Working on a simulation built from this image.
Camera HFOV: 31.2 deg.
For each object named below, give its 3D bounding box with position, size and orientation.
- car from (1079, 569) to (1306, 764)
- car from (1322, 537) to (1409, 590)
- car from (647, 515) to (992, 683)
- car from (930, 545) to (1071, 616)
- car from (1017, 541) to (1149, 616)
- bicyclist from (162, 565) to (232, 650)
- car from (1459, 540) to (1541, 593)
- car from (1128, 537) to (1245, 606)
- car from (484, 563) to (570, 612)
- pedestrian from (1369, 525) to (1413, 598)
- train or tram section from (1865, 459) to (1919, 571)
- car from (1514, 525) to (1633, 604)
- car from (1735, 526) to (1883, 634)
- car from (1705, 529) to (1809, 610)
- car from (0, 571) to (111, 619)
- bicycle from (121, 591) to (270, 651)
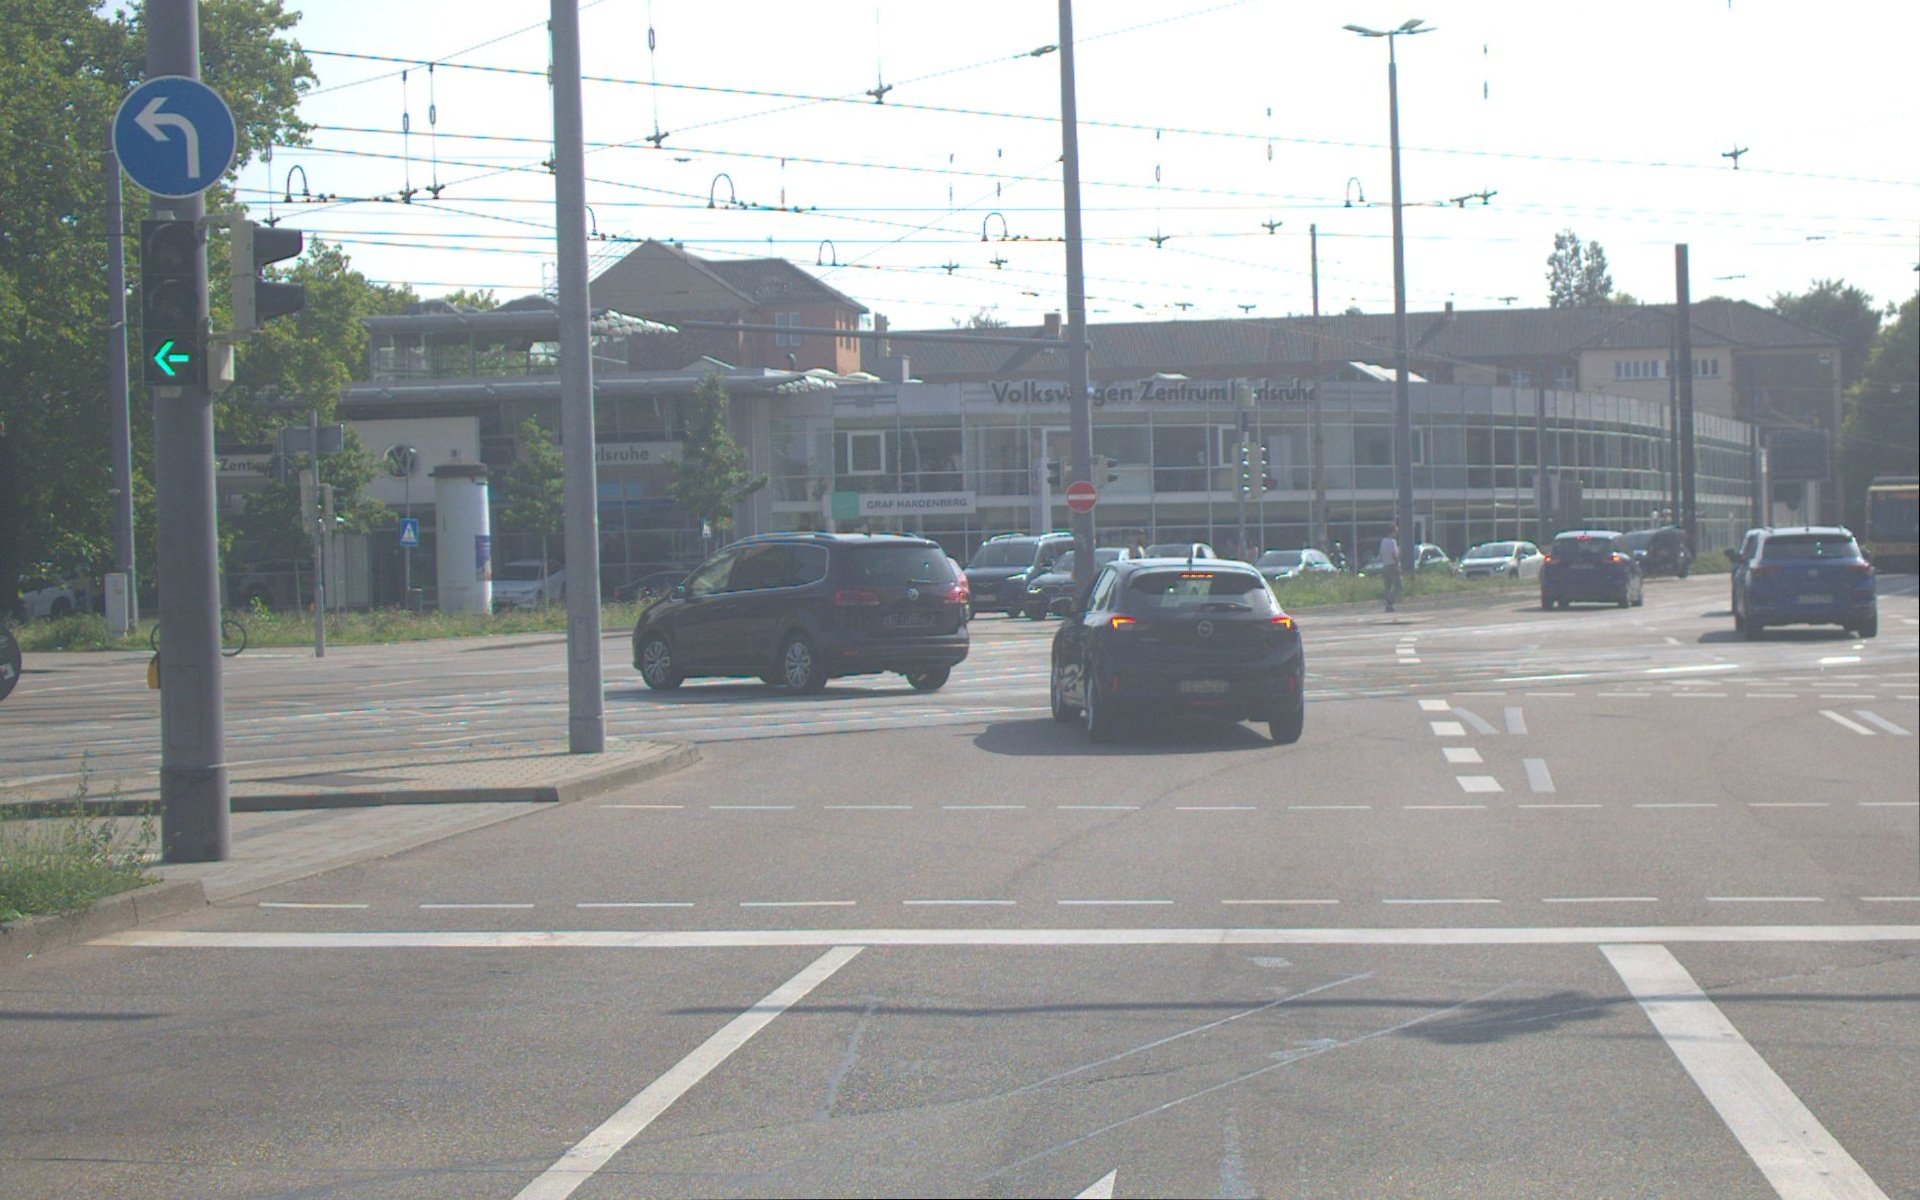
[{"bbox_3d":[1.871,0.497,28.710,1.682,1.486,4.372,1,0,1],"label":"car"},{"bbox_3d":[12.165,-1.107,102.953,1.616,1.470,3.996,-3,0,20],"label":"car"},{"bbox_3d":[-1.619,-0.035,37.941,1.825,1.708,4.412,-2,1,-32],"label":"car"},{"bbox_3d":[0.960,-0.469,78.224,1.962,1.470,3.996,-3,0,19],"label":"car"},{"bbox_3d":[2.641,-0.471,72.852,1.616,1.470,3.996,-3,0,19],"label":"car"},{"bbox_3d":[-13.931,0.126,62.776,1.162,1.522,0.961,-1,1,-9],"label":"bicyclist"},{"bbox_3d":[16.218,-1.010,103.166,1.616,1.470,3.996,-3,0,20],"label":"car"},{"bbox_3d":[5.244,-0.667,79.196,1.616,1.470,3.996,-3,0,19],"label":"car"},{"bbox_3d":[-14.012,-0.427,111.520,1.700,1.517,4.098,-1,1,9],"label":"car"},{"bbox_3d":[8.935,-0.796,71.192,0.778,1.498,0.710,-1,1,16],"label":"pedestrian"},{"bbox_3d":[33.408,-2.994,119.804,2.657,3.686,10.579,-1,1,20],"label":"train or tram section"},{"bbox_3d":[12.881,-0.767,72.016,1.827,1.530,4.408,-1,1,18],"label":"car"},{"bbox_3d":[12.054,-0.314,49.000,1.826,1.423,4.410,-1,1,11],"label":"car"},{"bbox_3d":[15.201,-0.597,65.460,1.826,1.423,4.409,-1,1,14],"label":"car"},{"bbox_3d":[-30.758,-0.166,115.079,1.703,1.517,4.506,0,1,36],"label":"car"},{"bbox_3d":[-13.940,0.379,62.772,2.599,1.053,0.961,-1,0,-10],"label":"bicycle"}]
